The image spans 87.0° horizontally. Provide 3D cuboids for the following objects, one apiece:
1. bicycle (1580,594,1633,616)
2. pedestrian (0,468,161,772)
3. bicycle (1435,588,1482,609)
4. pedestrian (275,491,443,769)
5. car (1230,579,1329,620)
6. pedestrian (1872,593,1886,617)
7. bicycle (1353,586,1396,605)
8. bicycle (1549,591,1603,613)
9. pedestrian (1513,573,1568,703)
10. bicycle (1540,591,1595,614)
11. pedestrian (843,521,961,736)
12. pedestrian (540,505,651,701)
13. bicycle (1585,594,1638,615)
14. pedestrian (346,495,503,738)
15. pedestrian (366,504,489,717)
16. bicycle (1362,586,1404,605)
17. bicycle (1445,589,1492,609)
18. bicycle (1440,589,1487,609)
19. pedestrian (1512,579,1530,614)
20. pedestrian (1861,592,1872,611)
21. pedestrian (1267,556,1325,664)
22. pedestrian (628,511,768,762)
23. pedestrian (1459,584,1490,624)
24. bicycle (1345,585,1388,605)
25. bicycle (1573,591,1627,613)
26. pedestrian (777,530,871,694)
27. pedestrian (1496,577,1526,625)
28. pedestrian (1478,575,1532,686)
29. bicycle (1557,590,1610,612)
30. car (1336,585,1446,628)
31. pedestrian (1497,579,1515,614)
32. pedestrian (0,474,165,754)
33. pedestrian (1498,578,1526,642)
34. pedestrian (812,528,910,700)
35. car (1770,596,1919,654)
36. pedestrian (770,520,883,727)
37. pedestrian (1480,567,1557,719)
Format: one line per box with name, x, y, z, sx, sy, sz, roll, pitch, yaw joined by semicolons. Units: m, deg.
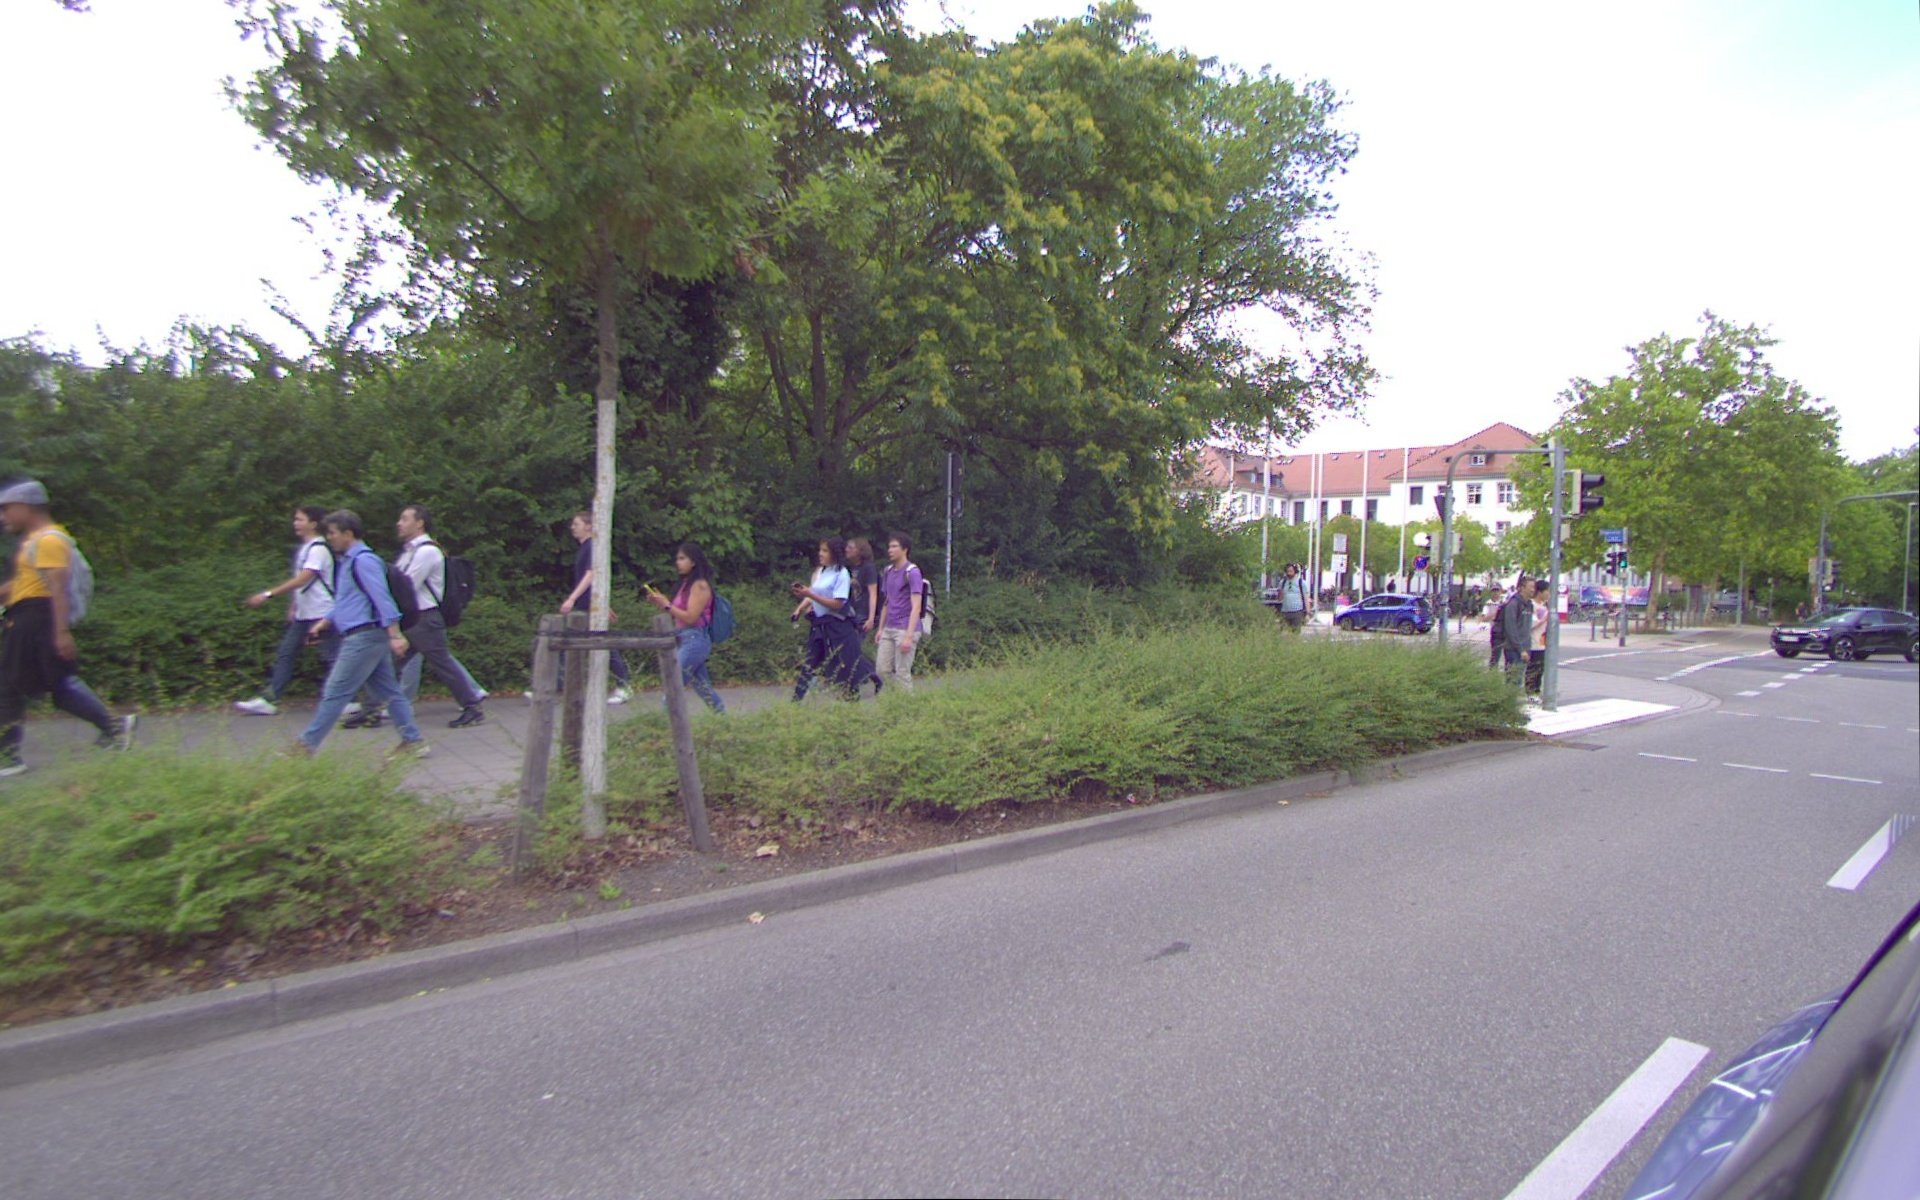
bicycle;37.378;0.261;58.520;0.705;1.156;2.469;0;2;-42
pedestrian;-5.403;0.103;6.120;0.827;1.710;0.657;1;2;-43
bicycle;30.138;-0.094;61.218;0.705;1.156;2.469;0;2;-42
pedestrian;-3.909;0.168;6.582;0.798;1.668;0.657;1;2;-43
car;13.528;-0.045;43.004;1.647;1.586;3.687;-1;2;-44
pedestrian;78.267;0.407;86.193;0.747;1.957;0.796;1;1;-45
bicycle;26.607;-0.294;64.986;0.705;1.156;2.469;0;2;-42
bicycle;34.352;0.087;56.478;0.705;1.156;2.469;0;2;-42
pedestrian;8.116;0.516;14.144;0.626;1.756;0.454;1;1;-43
bicycle;33.252;0.132;55.464;0.705;1.156;2.469;0;2;-42
pedestrian;-0.506;0.223;8.830;0.767;1.767;0.625;1;2;-43
pedestrian;-3.456;0.016;9.594;0.767;1.767;0.657;1;2;-43
bicycle;38.021;0.255;59.086;0.705;1.156;2.469;0;2;-42
pedestrian;-4.231;0.112;8.007;0.941;1.788;0.657;1;1;-43
pedestrian;-4.552;0.074;8.651;0.767;1.720;0.657;1;2;-43
bicycle;27.539;-0.301;65.893;0.705;1.156;2.469;0;2;-42
bicycle;31.298;-0.065;62.322;0.705;1.156;2.469;0;2;-42
bicycle;30.732;-0.061;61.781;0.705;1.156;2.469;0;2;-42
pedestrian;31.906;-0.217;57.555;0.674;1.988;0.601;1;0;7
pedestrian;77.764;0.134;86.815;0.645;1.584;0.792;3;1;44
pedestrian;5.835;0.166;17.565;0.728;1.817;0.645;0;1;-43
pedestrian;-1.975;0.245;7.622;0.767;1.767;0.657;1;2;-43
pedestrian;22.577;0.184;44.403;0.687;1.729;0.956;1;0;-25
bicycle;25.757;-0.327;64.172;0.705;1.156;2.469;0;2;-42
bicycle;36.686;0.130;58.041;0.705;1.156;2.469;0;2;-42
pedestrian;-1.532;0.114;11.383;0.767;1.767;0.657;1;2;-43
pedestrian;21.378;0.023;39.264;0.875;1.827;0.769;0;0;-39
pedestrian;8.691;0.474;16.128;0.626;1.708;0.546;1;1;-43
bicycle;35.620;0.074;57.836;0.705;1.156;2.469;0;2;-42
car;16.624;0.220;39.131;1.647;1.510;3.574;-1;2;-44
pedestrian;31.090;-0.196;57.629;0.674;1.988;0.601;1;0;7
pedestrian;-5.783;0.075;6.539;0.955;1.687;0.657;1;2;-43
pedestrian;16.449;0.292;30.136;0.642;1.875;0.819;1;0;35
pedestrian;-1.064;0.127;10.892;0.767;1.767;0.657;1;2;-43
car;25.982;0.699;29.044;4.093;1.576;1.806;0;0;-3
pedestrian;-1.195;0.187;9.097;0.776;1.767;0.582;1;2;-43
pedestrian;6.716;0.496;12.166;0.643;1.756;0.602;1;1;-43
